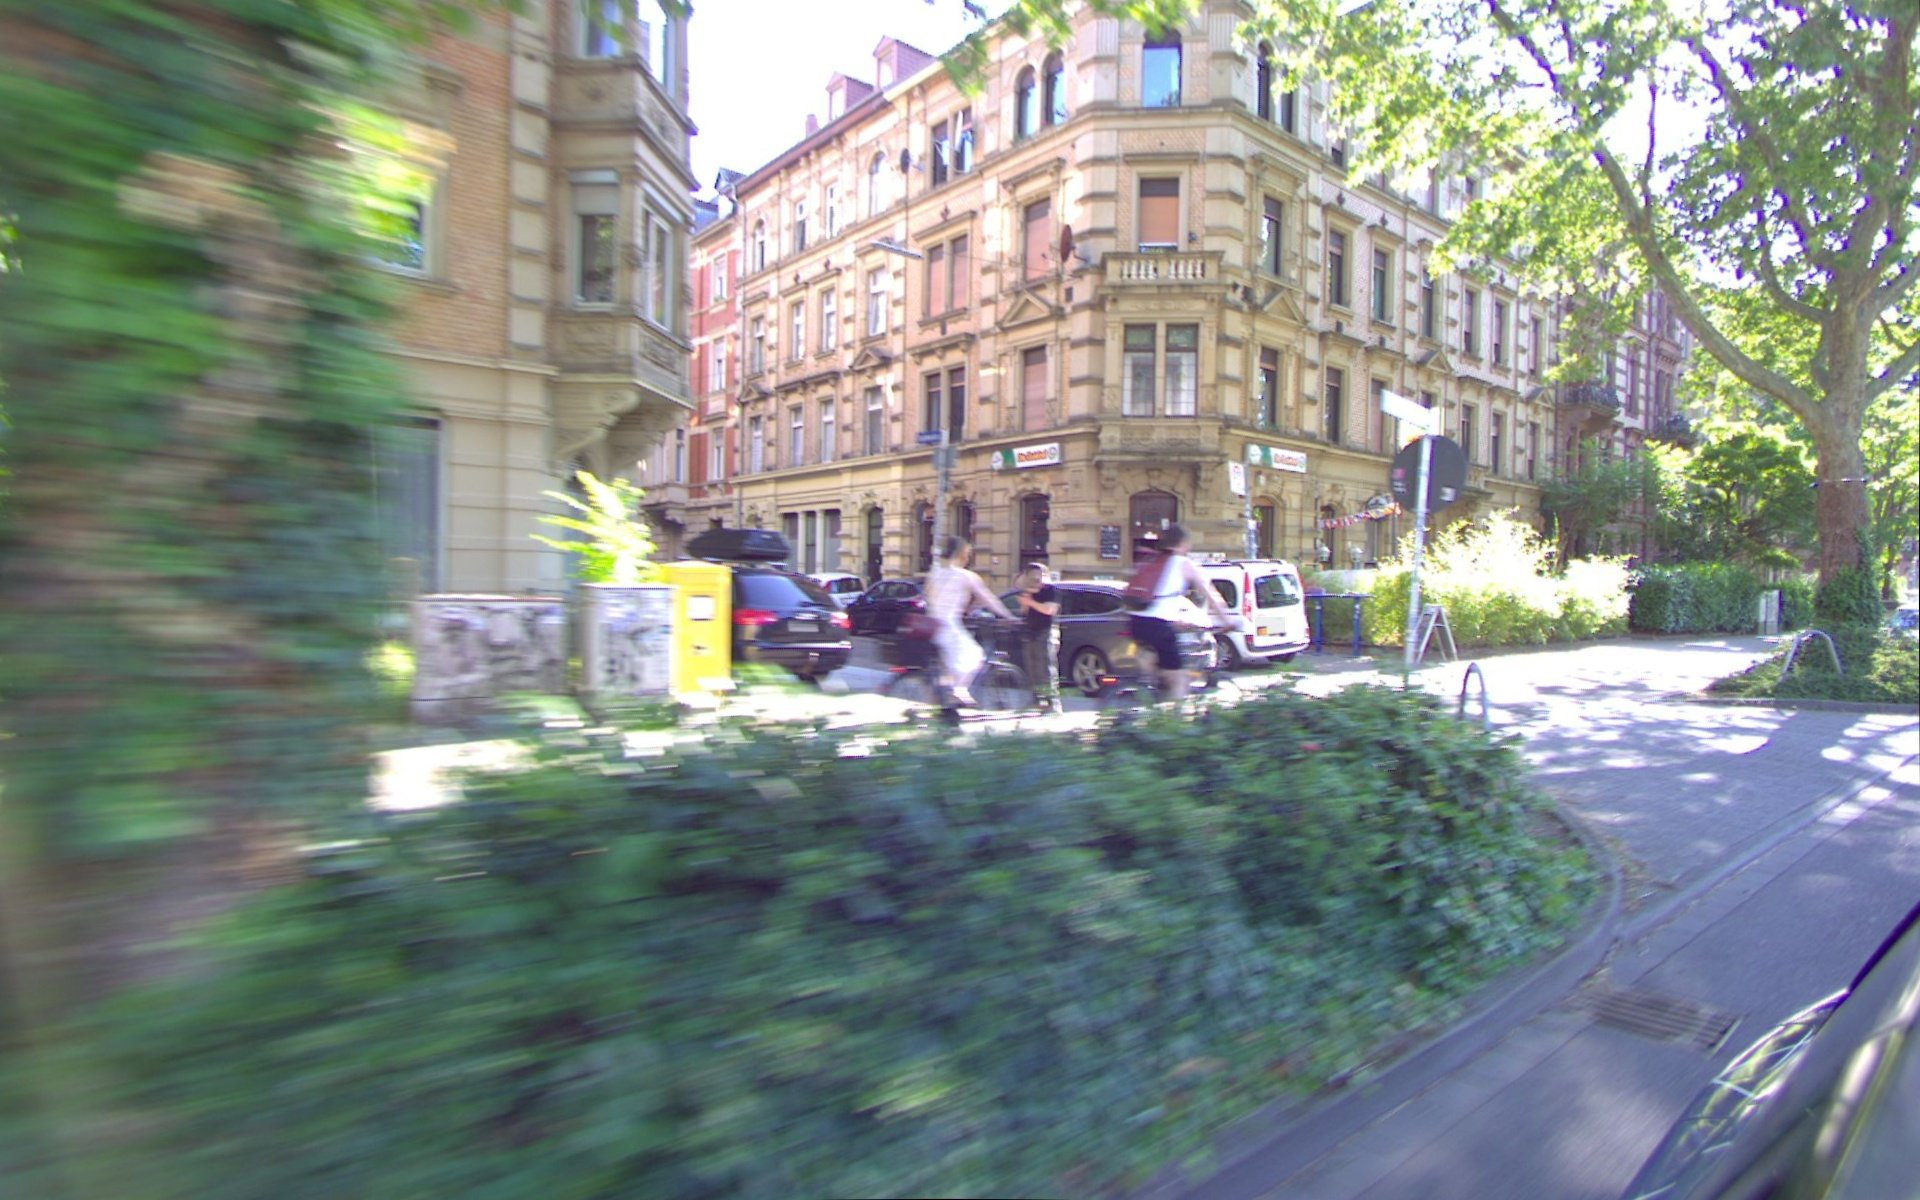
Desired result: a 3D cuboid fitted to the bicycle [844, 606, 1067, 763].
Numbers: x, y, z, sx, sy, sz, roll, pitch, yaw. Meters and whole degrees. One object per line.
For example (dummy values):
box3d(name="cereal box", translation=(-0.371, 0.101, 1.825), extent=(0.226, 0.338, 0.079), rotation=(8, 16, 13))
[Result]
box3d(name="bicycle", translation=(0.017, 0.596, 7.925), extent=(0.561, 1.050, 1.902), rotation=(3, 2, 43))

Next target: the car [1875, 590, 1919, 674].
box3d(name="car", translation=(18.916, 0.563, 19.147), extent=(4.488, 1.411, 1.680), rotation=(-1, 3, -39))

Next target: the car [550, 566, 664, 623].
box3d(name="car", translation=(-10.082, -0.195, 28.724), extent=(1.723, 1.500, 4.052), rotation=(-1, 1, -40))

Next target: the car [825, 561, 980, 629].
box3d(name="car", translation=(-1.547, -0.162, 25.845), extent=(1.874, 1.581, 4.179), rotation=(-1, 1, -39))

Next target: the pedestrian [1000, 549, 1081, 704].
box3d(name="pedestrian", translation=(0.847, 0.263, 10.642), extent=(0.596, 1.569, 0.540), rotation=(2, 0, -40))

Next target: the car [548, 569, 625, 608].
box3d(name="car", translation=(-16.191, -0.503, 43.810), extent=(1.874, 1.581, 4.179), rotation=(-1, 1, -39))

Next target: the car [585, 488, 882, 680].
box3d(name="car", translation=(-3.014, -0.189, 12.911), extent=(1.965, 2.039, 3.994), rotation=(3, 0, -41))

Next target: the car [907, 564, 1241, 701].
box3d(name="car", translation=(1.395, 0.312, 14.059), extent=(1.874, 1.558, 4.557), rotation=(0, 2, -40))

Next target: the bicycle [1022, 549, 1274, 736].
box3d(name="bicycle", translation=(1.441, 0.286, 7.415), extent=(2.187, 1.193, 0.561), rotation=(2, 0, -41))

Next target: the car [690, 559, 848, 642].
box3d(name="car", translation=(-4.053, -0.028, 21.069), extent=(1.721, 1.563, 3.819), rotation=(-1, 1, -37))

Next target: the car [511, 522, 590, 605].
box3d(name="car", translation=(-19.988, -1.723, 49.263), extent=(1.985, 3.799, 5.518), rotation=(-1, 1, -39))

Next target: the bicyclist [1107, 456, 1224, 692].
box3d(name="bicyclist", translation=(1.518, -0.181, 7.477), extent=(0.633, 1.646, 0.544), rotation=(2, 0, -41))

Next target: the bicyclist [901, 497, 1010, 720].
box3d(name="bicyclist", translation=(-0.031, 0.052, 7.887), extent=(0.543, 1.645, 0.634), rotation=(2, 2, 44))

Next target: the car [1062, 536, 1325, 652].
box3d(name="car", translation=(4.164, -0.141, 18.679), extent=(1.874, 1.869, 4.557), rotation=(-1, 1, -39))

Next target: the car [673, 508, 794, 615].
box3d(name="car", translation=(-7.537, -1.215, 33.332), extent=(1.874, 3.241, 4.885), rotation=(-1, 1, -39))
